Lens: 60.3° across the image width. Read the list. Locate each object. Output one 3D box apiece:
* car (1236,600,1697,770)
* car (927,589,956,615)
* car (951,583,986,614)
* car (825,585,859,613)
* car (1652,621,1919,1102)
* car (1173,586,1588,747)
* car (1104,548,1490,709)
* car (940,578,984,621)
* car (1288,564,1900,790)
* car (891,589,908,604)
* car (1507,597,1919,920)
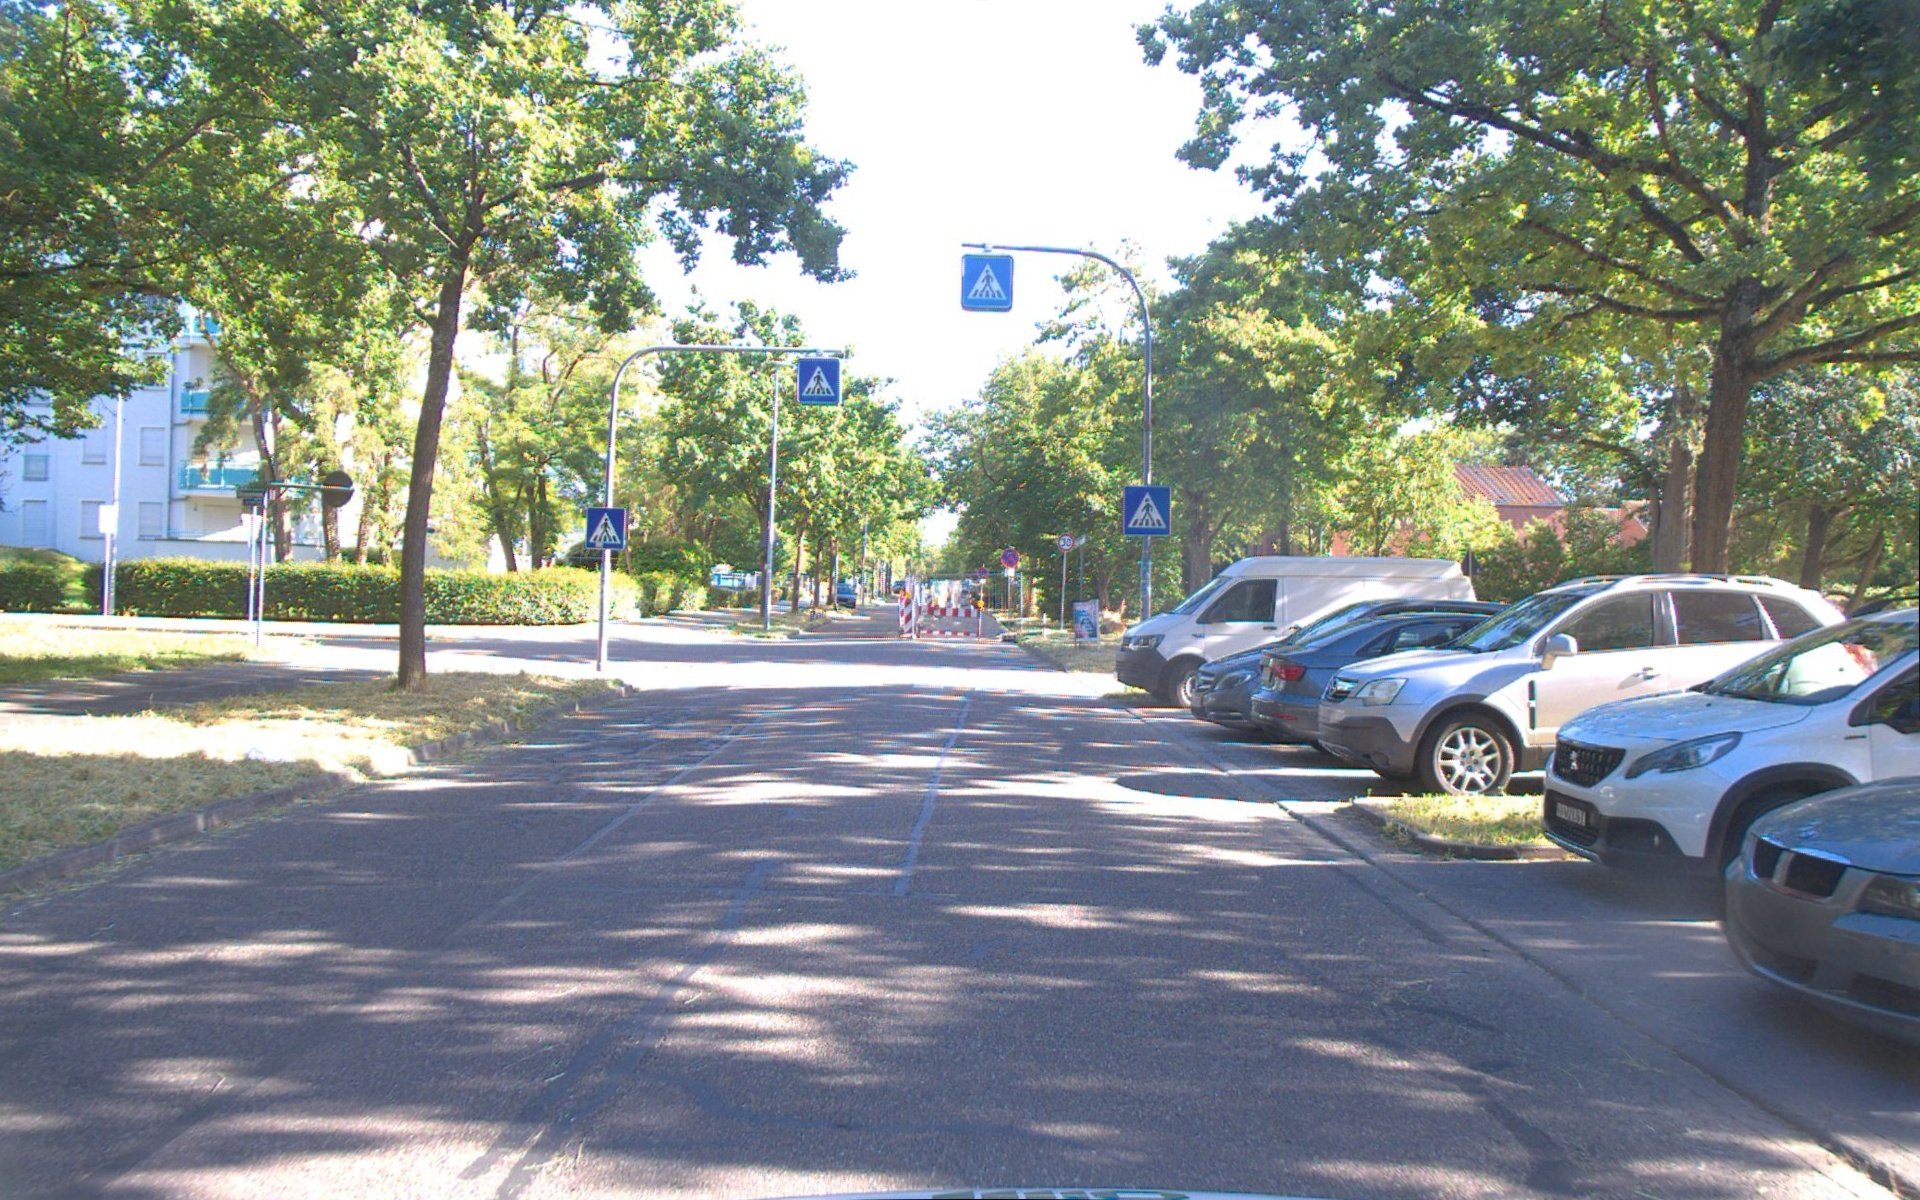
[{"bbox_3d":[4.793,0.775,16.093,3.905,1.458,1.901,1,0,1],"label":"car"},{"bbox_3d":[-1.345,0.156,116.249,1.953,1.746,3.999,2,0,-1],"label":"car"},{"bbox_3d":[0.476,-0.085,100.528,1.953,1.746,3.999,2,0,-1],"label":"car"},{"bbox_3d":[-7.567,-0.068,106.505,1.953,1.746,3.999,2,0,-1],"label":"car"},{"bbox_3d":[5.051,0.818,5.919,4.355,1.414,1.911,1,0,-1],"label":"car"},{"bbox_3d":[4.641,0.711,18.682,4.128,1.596,1.933,2,0,-3],"label":"car"},{"bbox_3d":[4.735,0.403,23.790,5.083,2.142,2.081,1,0,-3],"label":"car"},{"bbox_3d":[0.077,-0.020,79.805,1.953,1.966,3.999,2,0,-1],"label":"car"},{"bbox_3d":[5.027,0.577,13.515,4.296,1.680,1.850,0,0,-3],"label":"car"},{"bbox_3d":[-7.423,-0.412,203.772,1.953,1.746,3.999,1,0,-1],"label":"car"},{"bbox_3d":[5.119,0.748,8.833,3.806,1.523,1.777,0,0,-2],"label":"car"}]
